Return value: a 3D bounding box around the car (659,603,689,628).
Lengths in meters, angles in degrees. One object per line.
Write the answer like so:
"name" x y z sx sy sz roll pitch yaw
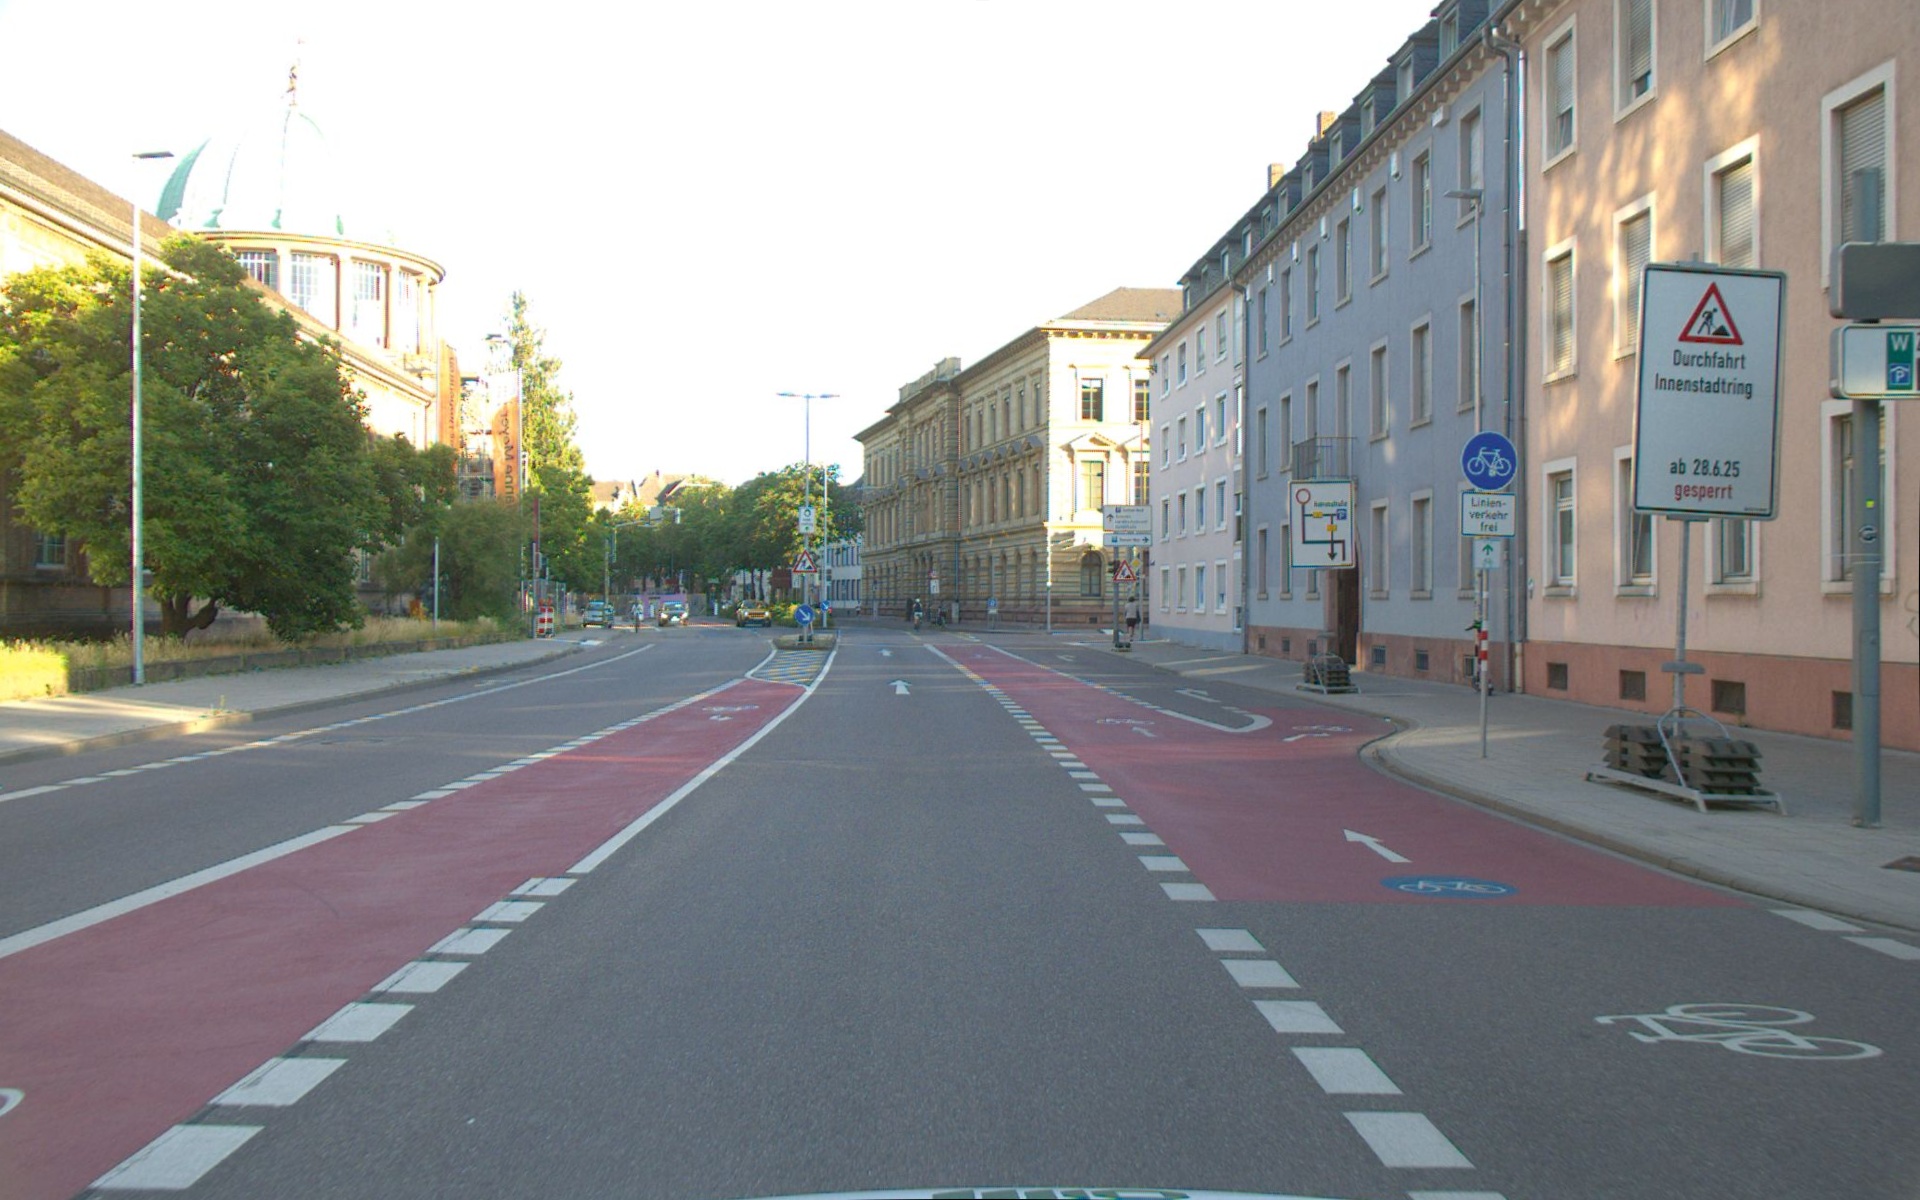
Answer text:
"car" -18.118 0.969 104.866 1.789 1.534 4.417 0 0 -9

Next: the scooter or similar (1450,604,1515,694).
"scooter or similar" 9.026 0.824 28.607 0.710 1.484 1.673 -2 0 7

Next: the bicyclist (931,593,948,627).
"bicyclist" -1.084 0.525 87.998 0.639 1.791 0.860 2 -1 -17

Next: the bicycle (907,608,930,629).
"bicycle" -2.223 1.002 87.826 0.659 1.090 1.890 2 -1 -19

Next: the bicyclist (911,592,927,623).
"bicyclist" -2.179 0.391 87.764 0.659 1.593 0.694 2 -2 -19

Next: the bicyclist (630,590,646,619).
"bicyclist" -16.982 0.229 87.240 0.733 1.486 0.935 -2 0 -10

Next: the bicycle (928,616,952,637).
"bicycle" -1.064 1.415 87.792 0.642 1.090 2.247 2 -1 -17

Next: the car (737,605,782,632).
"car" -11.796 1.069 97.443 1.806 1.574 4.121 0 0 5

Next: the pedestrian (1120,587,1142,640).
"pedestrian" 6.711 0.526 64.740 0.768 2.049 0.995 0 0 11

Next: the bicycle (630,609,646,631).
"bicycle" -16.964 1.062 87.222 0.740 1.109 1.928 -2 0 -10

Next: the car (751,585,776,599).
"car" -22.703 -0.936 190.981 1.789 1.587 3.835 1 -1 -24
